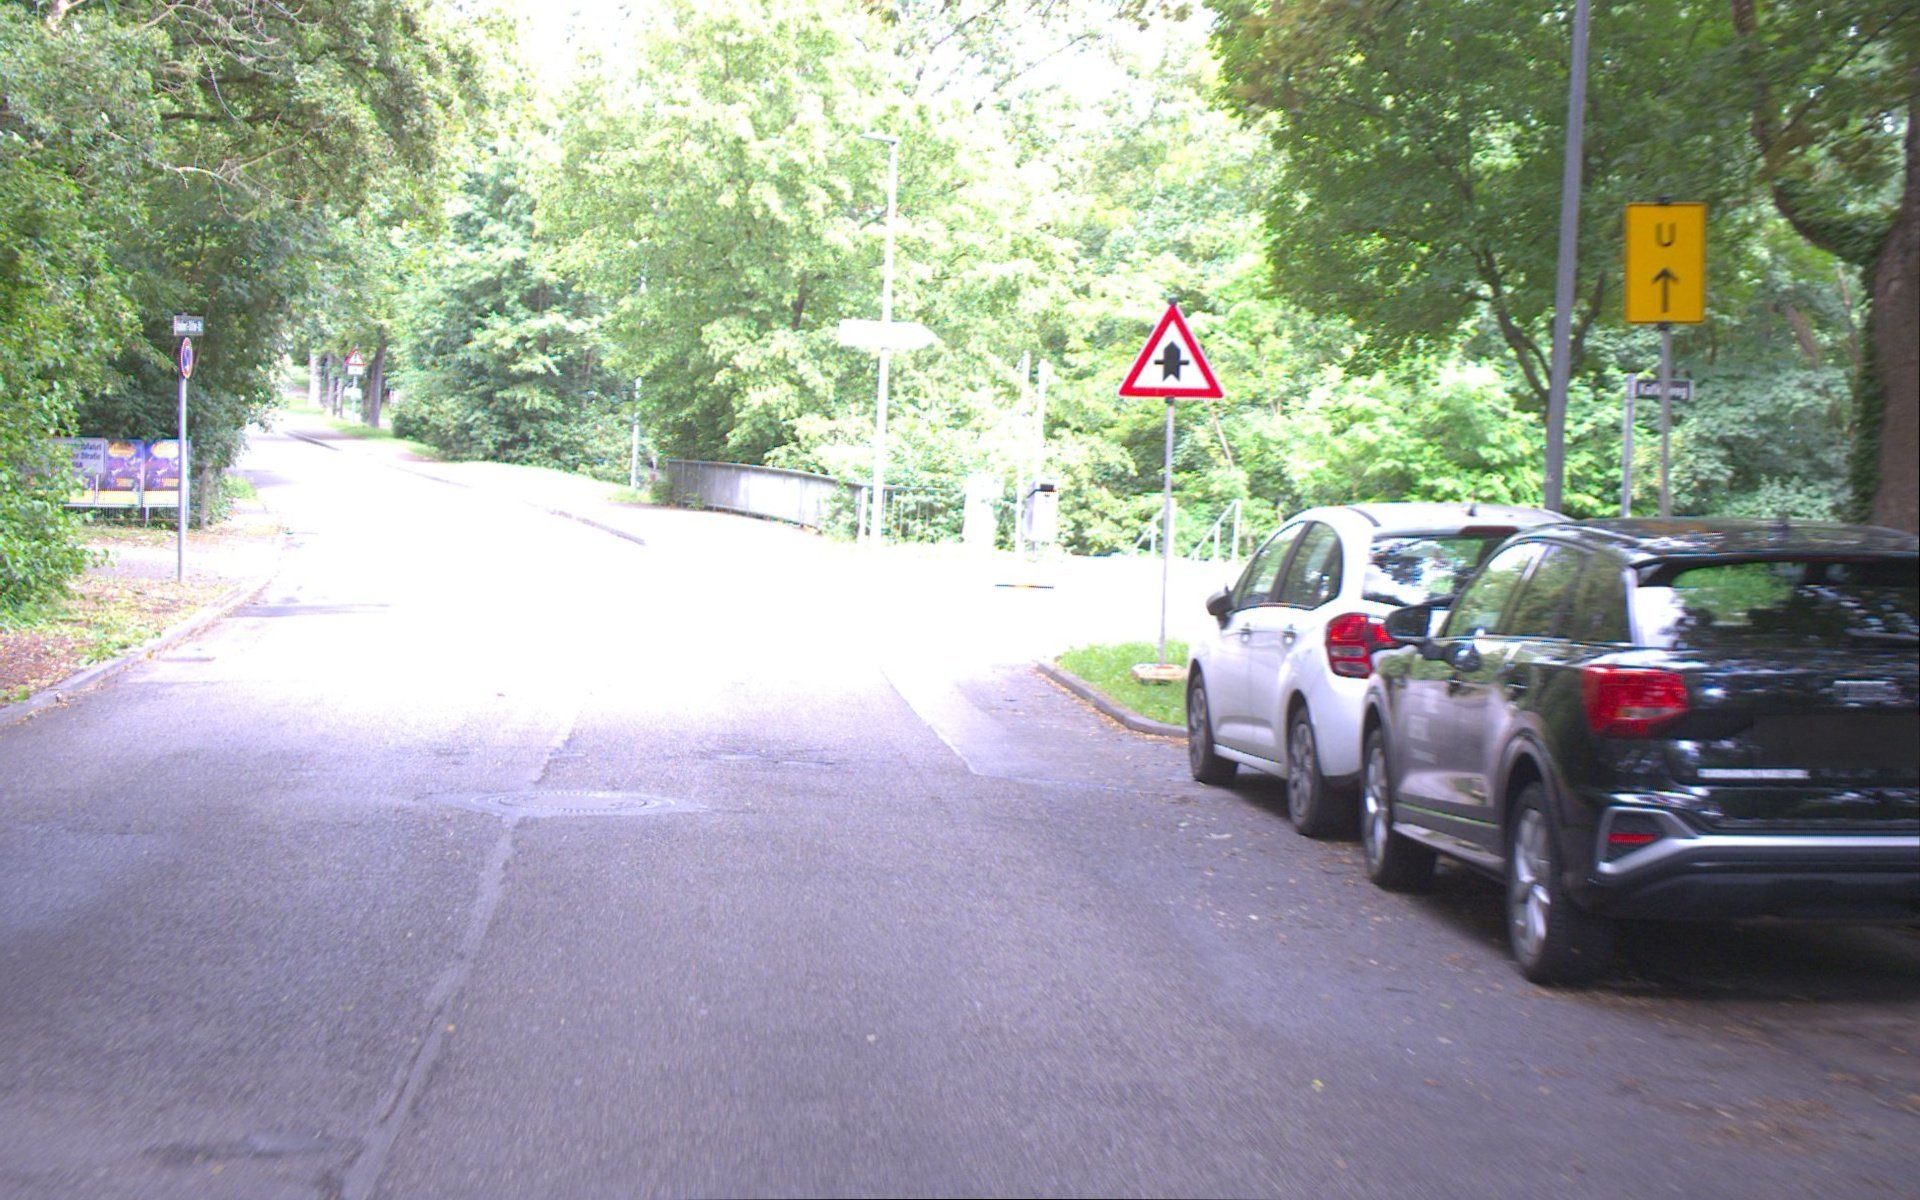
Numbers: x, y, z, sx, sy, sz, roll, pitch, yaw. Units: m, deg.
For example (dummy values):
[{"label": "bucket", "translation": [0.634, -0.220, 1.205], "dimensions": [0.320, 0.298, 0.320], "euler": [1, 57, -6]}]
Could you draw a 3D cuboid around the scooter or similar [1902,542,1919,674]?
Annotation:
[{"label": "scooter or similar", "translation": [9.588, 0.094, 33.689], "dimensions": [0.283, 1.282, 1.108], "euler": [3, 2, -3]}]

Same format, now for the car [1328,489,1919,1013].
[{"label": "car", "translation": [2.576, 0.405, 12.477], "dimensions": [1.774, 1.517, 4.184], "euler": [2, 2, -3]}]

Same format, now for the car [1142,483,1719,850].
[{"label": "car", "translation": [2.165, 0.234, 16.898], "dimensions": [1.773, 1.517, 3.782], "euler": [2, 2, -8]}]
